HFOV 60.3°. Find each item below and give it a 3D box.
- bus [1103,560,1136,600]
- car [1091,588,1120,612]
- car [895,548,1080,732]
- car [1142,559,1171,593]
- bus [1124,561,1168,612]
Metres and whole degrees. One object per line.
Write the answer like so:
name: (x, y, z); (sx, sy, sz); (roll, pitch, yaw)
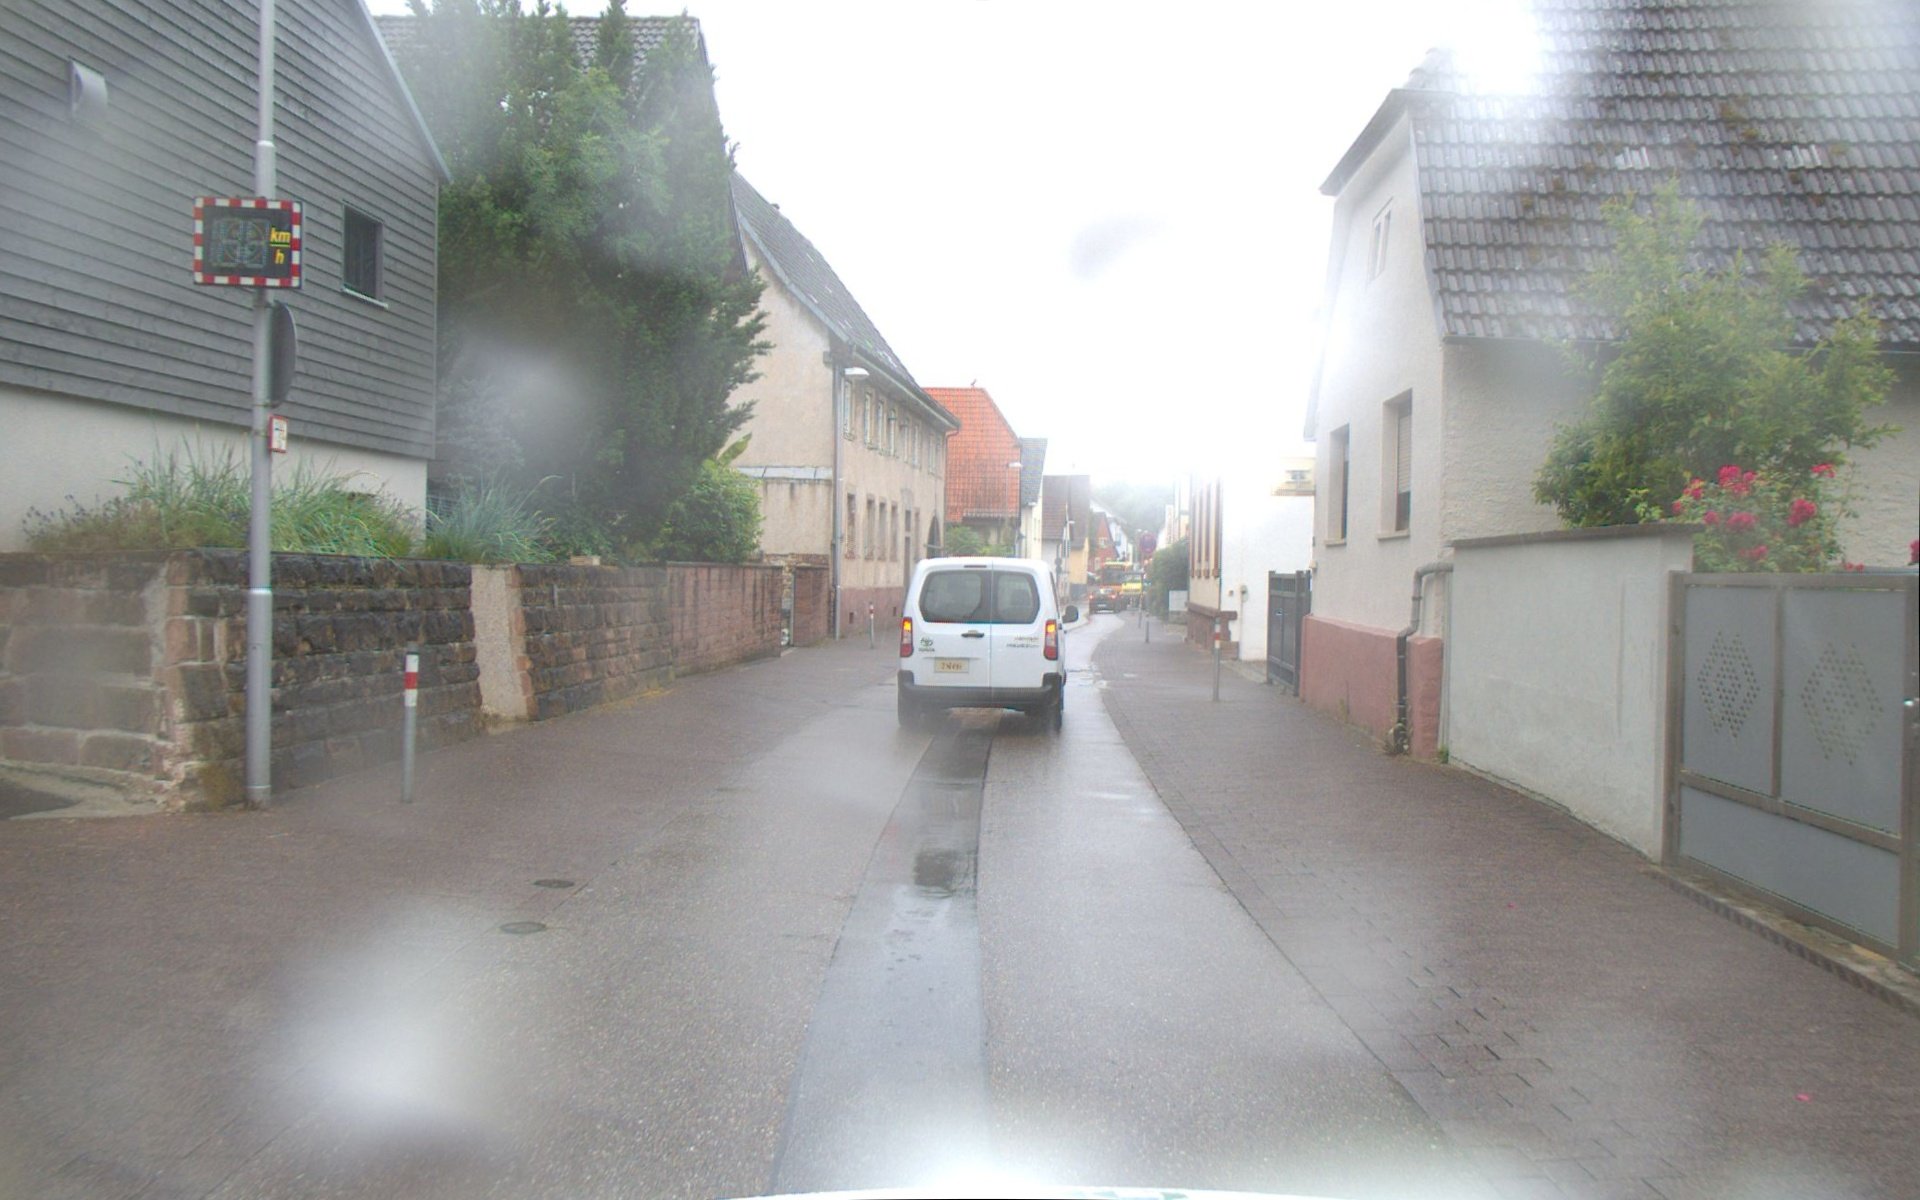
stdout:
bus: (14.996, -1.830, 155.099); (2.734, 3.387, 8.183); (3, 0, 7)
car: (8.943, 0.024, 101.404); (1.528, 1.395, 3.587); (2, 0, 7)
car: (0.420, 0.416, 18.833); (1.757, 1.850, 4.104); (0, 0, 6)
car: (12.597, -1.501, 106.054); (1.788, 2.049, 3.696); (2, 0, 7)
bus: (12.761, -0.869, 113.280); (2.734, 3.235, 8.183); (3, 0, 7)
